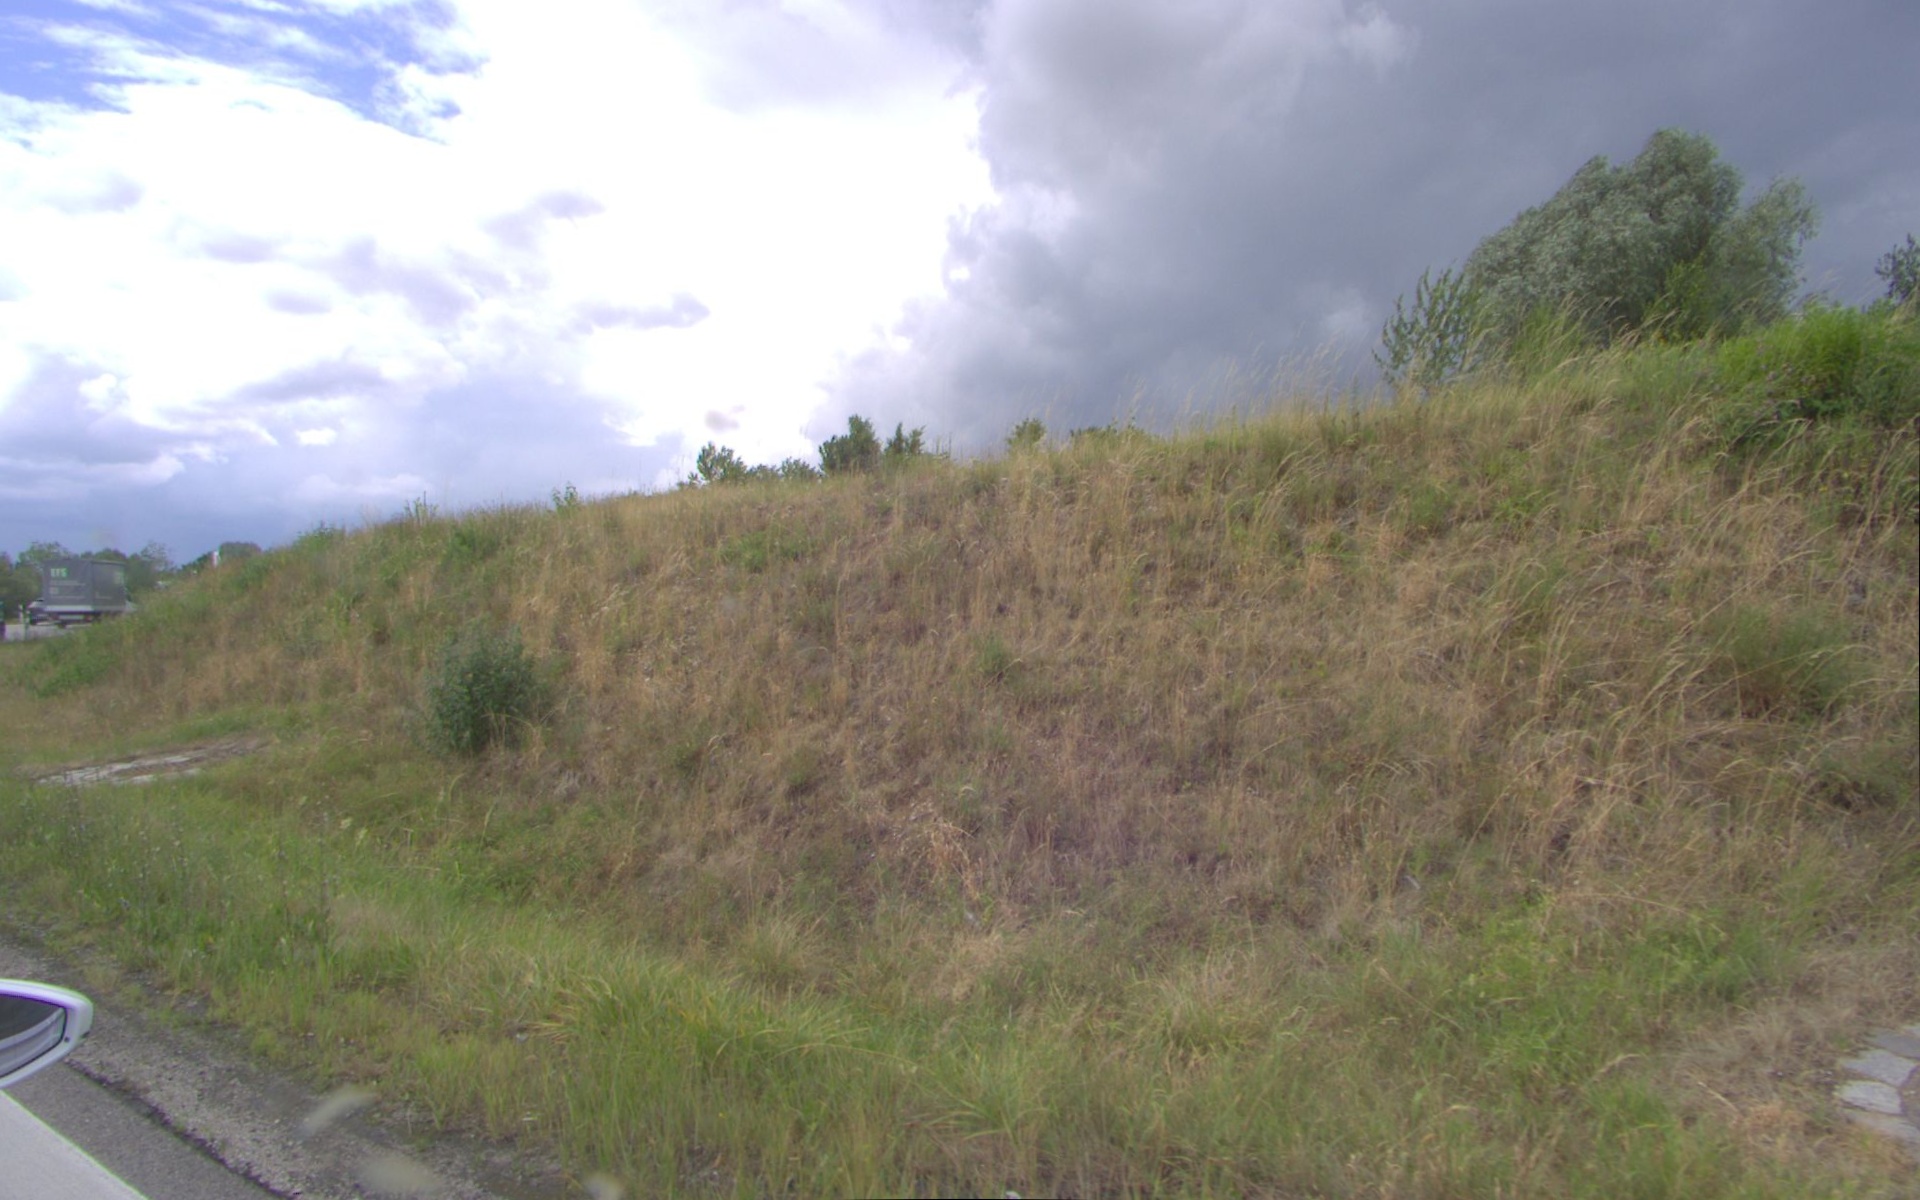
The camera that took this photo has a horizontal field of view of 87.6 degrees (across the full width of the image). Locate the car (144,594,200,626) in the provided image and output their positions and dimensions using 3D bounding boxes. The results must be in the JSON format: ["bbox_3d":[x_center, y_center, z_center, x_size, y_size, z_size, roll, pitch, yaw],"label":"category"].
[{"bbox_3d":[-52.198,0.701,66.392,1.968,2.039,3.988,0,-2,-23],"label":"car"}]

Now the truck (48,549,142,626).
[{"bbox_3d":[-47.923,-0.559,55.635,2.200,3.956,5.998,0,-2,-23],"label":"truck"}]

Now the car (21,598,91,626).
[{"bbox_3d":[-53.029,0.727,58.822,1.772,1.575,3.950,-1,-1,-22],"label":"car"}]
